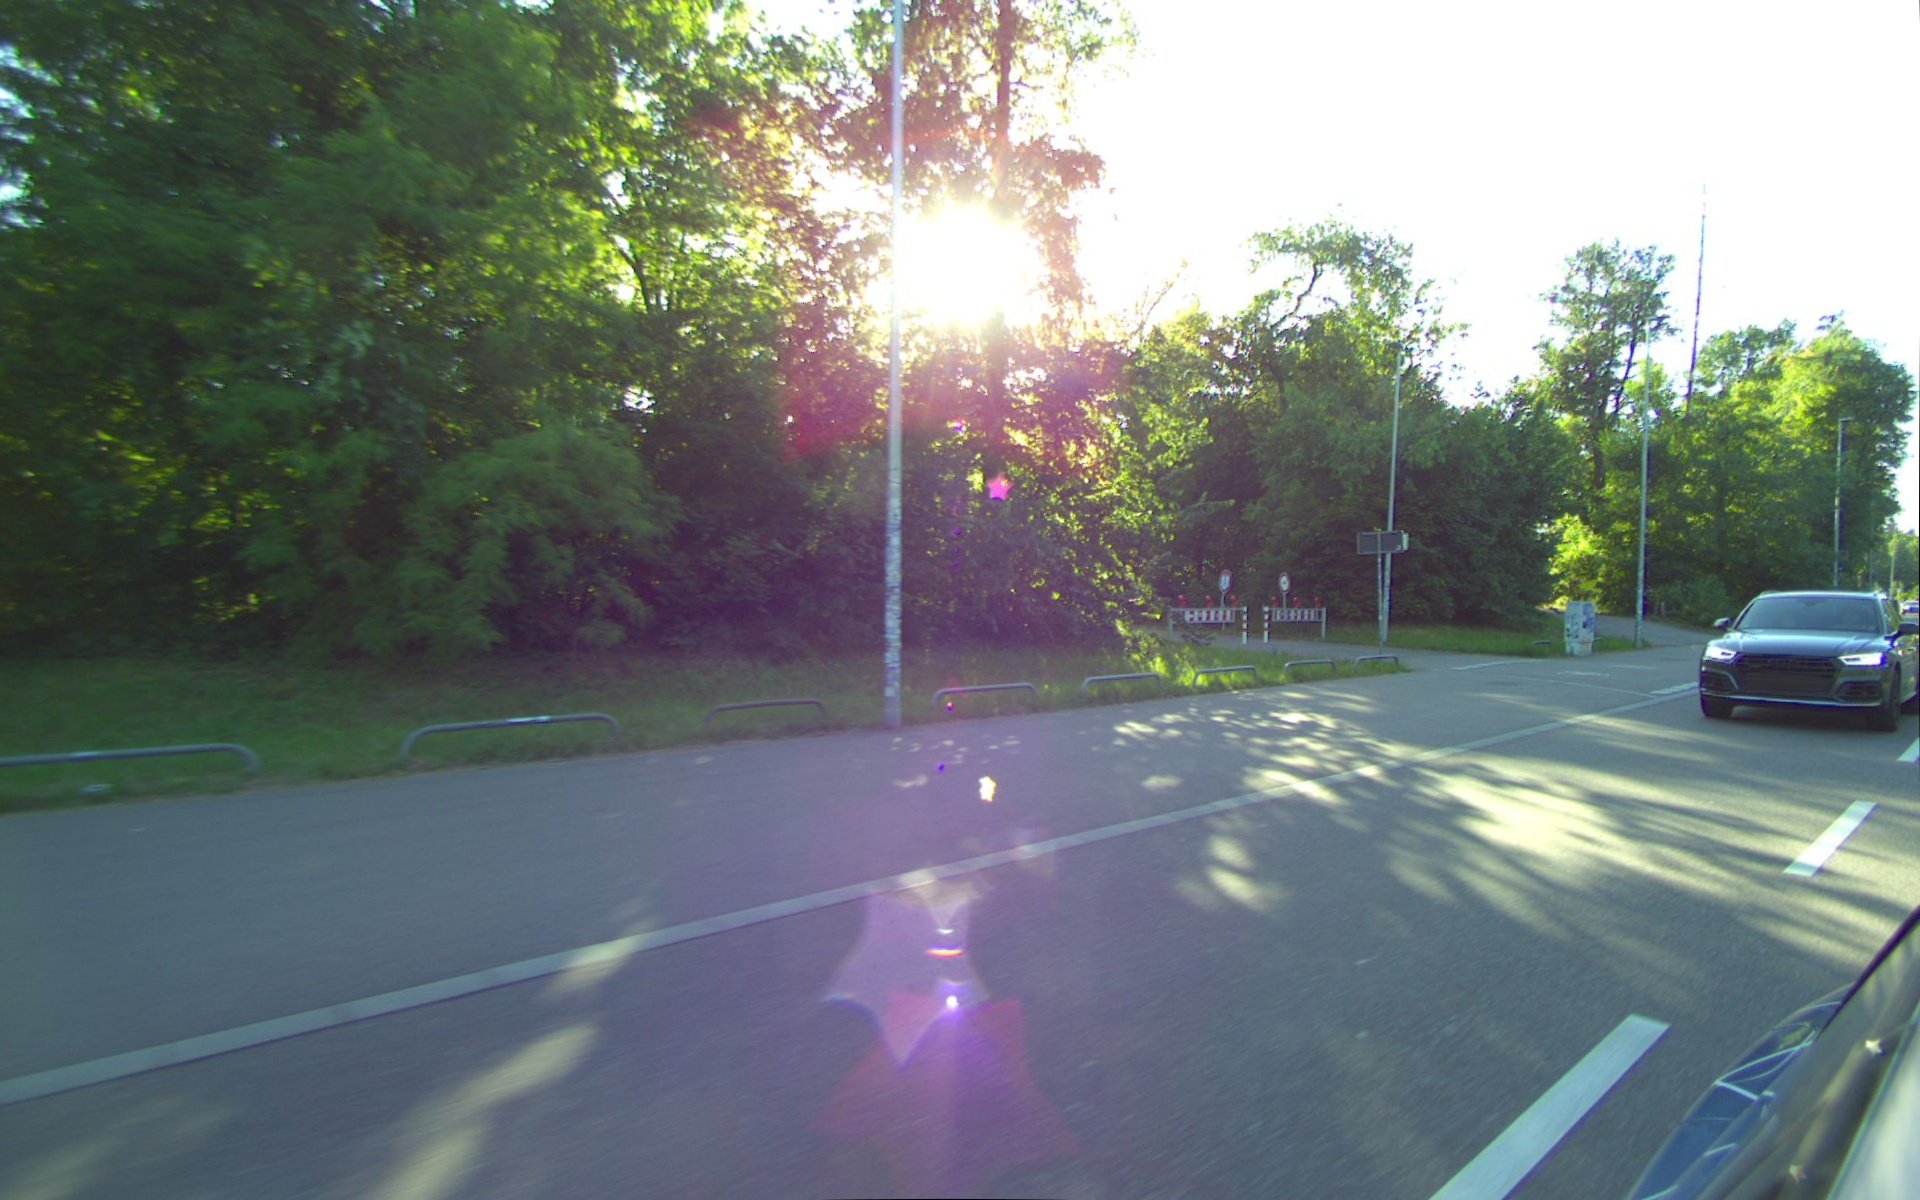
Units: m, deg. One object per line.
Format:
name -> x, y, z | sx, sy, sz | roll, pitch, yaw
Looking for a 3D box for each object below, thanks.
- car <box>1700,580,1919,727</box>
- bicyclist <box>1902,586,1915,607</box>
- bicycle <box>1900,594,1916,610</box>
car -> 11.490, 0.568, 13.399 | 4.467, 1.625, 1.895 | 0, 1, -42
bicyclist -> 68.333, -0.288, 72.902 | 0.519, 1.487, 0.850 | 4, 3, 36
bicycle -> 68.338, 0.131, 72.972 | 0.553, 1.151, 1.840 | 4, 3, 36
